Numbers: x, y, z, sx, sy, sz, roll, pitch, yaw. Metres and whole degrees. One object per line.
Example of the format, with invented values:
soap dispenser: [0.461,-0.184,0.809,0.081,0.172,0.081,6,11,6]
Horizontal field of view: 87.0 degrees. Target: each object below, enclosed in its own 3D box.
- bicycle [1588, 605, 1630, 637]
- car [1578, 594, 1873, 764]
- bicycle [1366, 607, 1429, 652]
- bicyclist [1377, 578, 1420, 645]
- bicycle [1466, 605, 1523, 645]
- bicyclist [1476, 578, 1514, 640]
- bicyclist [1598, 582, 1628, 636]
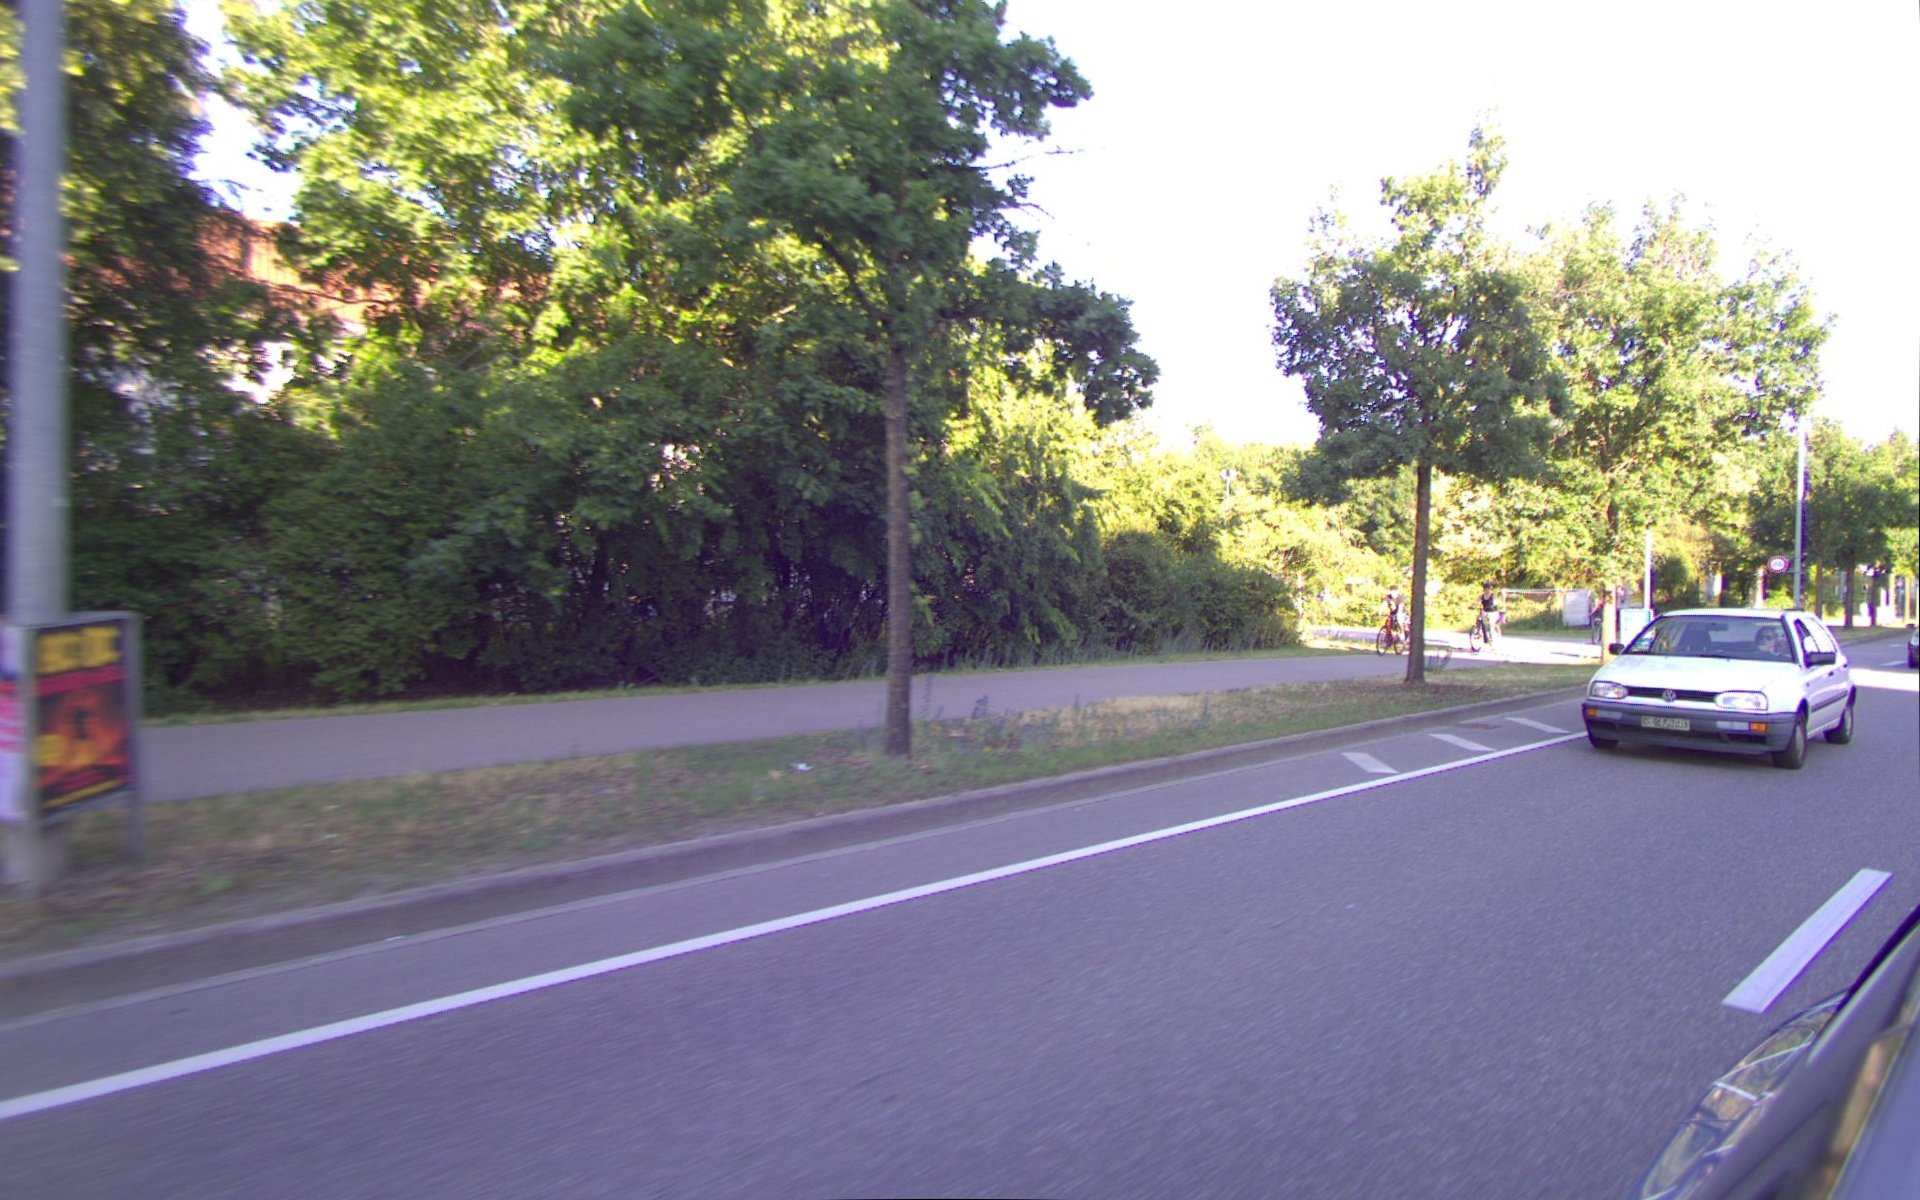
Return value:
bicycle: [21.423,0.680,33.397,2.022,0.986,0.618,0,1,-41]
car: [7.978,0.685,10.414,3.967,1.416,1.614,1,0,-41]
bicycle: [10.300,0.671,23.804,1.790,0.986,0.618,0,1,-41]
bicyclist: [10.326,0.260,23.813,0.833,1.520,0.614,0,1,-40]
bicycle: [14.169,0.651,26.805,2.022,0.986,0.618,0,1,-41]
bicyclist: [14.176,0.222,26.807,0.833,1.598,0.604,0,1,-40]
bicyclist: [21.684,0.292,33.613,0.833,1.755,0.604,0,1,-40]
